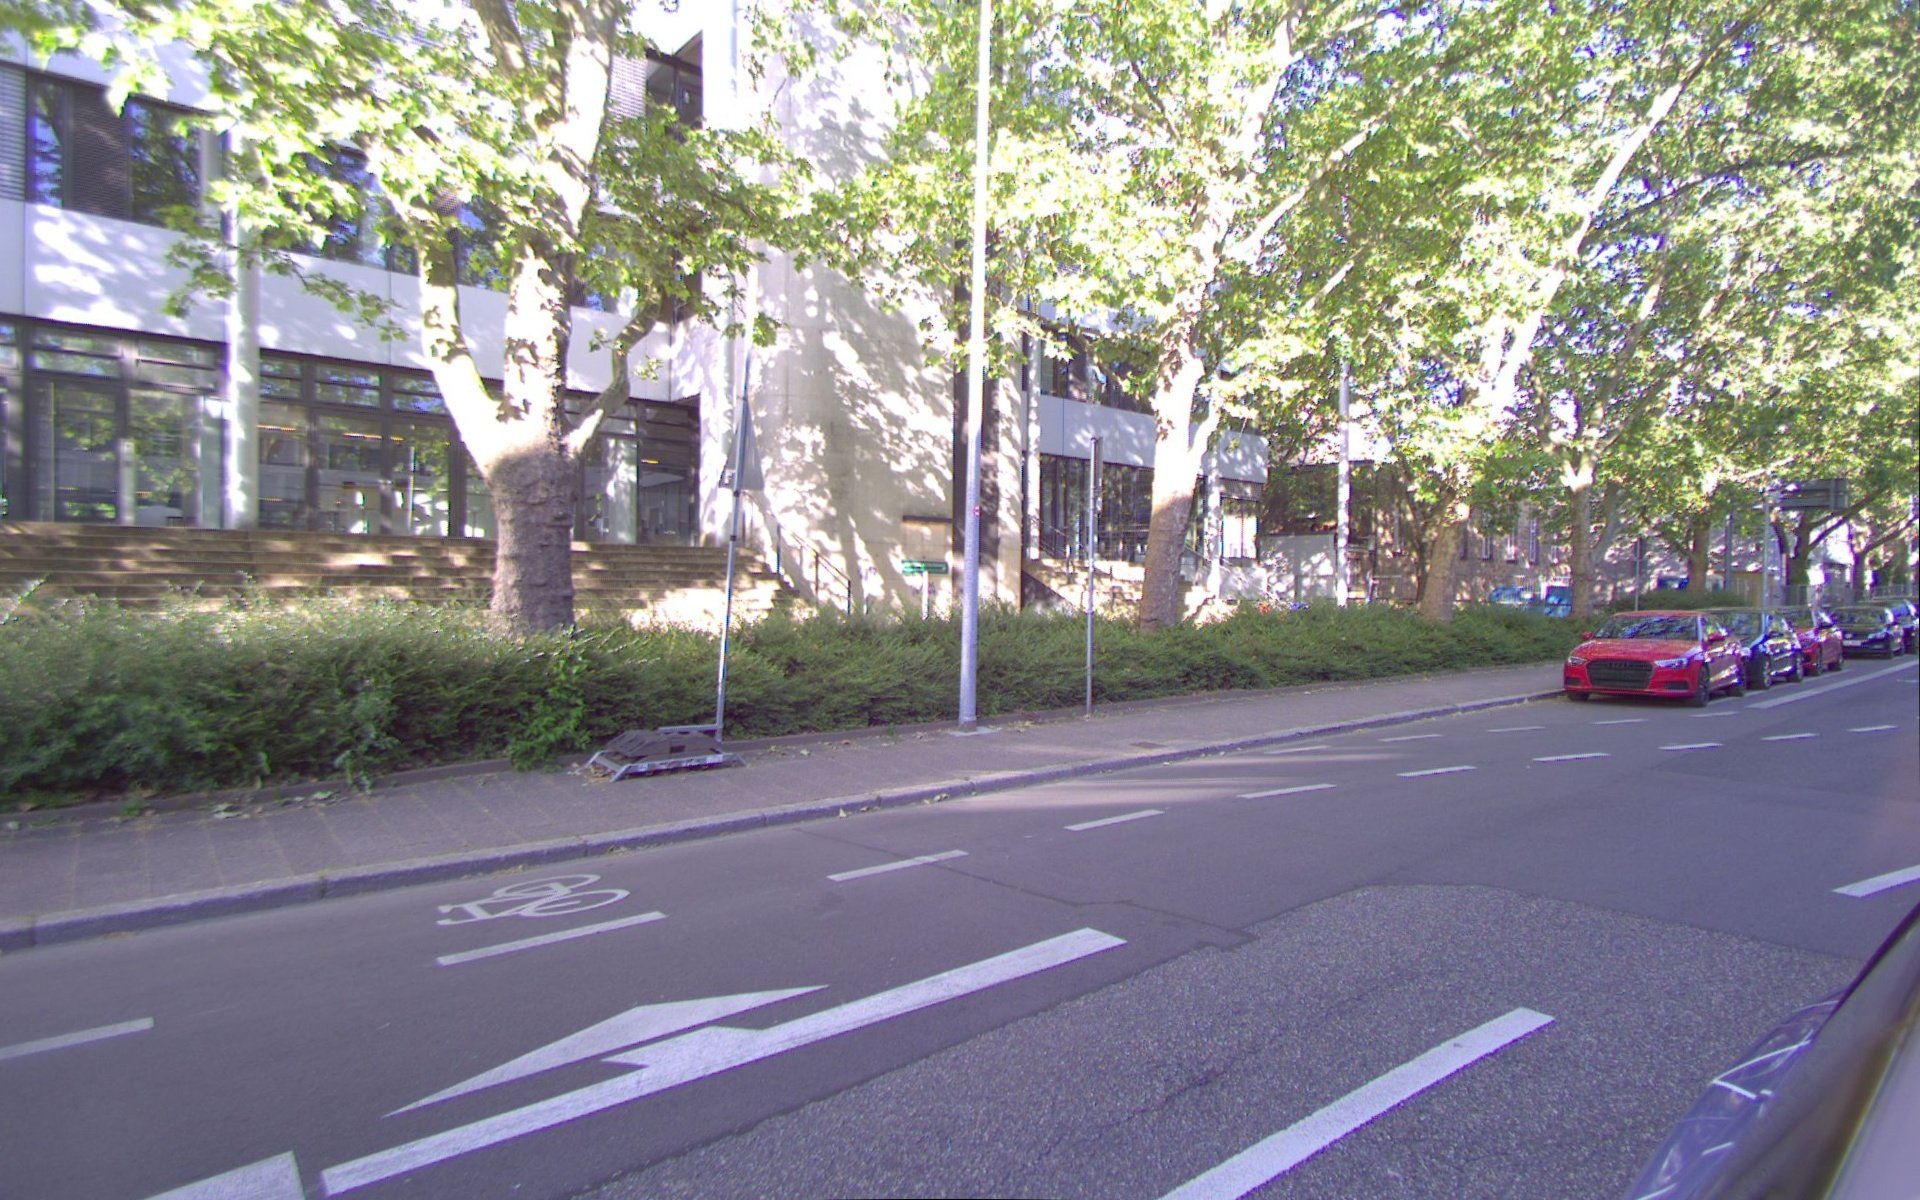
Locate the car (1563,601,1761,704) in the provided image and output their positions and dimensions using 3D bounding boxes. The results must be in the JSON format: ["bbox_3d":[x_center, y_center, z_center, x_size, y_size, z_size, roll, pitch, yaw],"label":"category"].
[{"bbox_3d":[11.249,0.755,16.120,3.962,1.439,1.722,0,-2,-42],"label":"car"}]

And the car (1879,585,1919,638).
[{"bbox_3d":[33.974,0.391,35.710,4.354,1.790,1.818,0,1,-41],"label":"car"}]

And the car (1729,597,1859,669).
[{"bbox_3d":[18.615,0.675,22.541,3.715,1.452,1.664,0,1,-41],"label":"car"}]

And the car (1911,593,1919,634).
[{"bbox_3d":[38.711,0.511,39.727,3.801,1.581,1.684,0,1,-41],"label":"car"}]

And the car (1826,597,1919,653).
[{"bbox_3d":[26.018,0.655,28.701,3.930,1.469,1.684,0,1,-41],"label":"car"}]

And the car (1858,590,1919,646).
[{"bbox_3d":[29.519,0.524,31.655,3.770,1.640,1.684,0,1,-41],"label":"car"}]

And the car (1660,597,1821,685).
[{"bbox_3d":[14.814,0.704,19.147,3.930,1.485,1.684,0,0,-41],"label":"car"}]
